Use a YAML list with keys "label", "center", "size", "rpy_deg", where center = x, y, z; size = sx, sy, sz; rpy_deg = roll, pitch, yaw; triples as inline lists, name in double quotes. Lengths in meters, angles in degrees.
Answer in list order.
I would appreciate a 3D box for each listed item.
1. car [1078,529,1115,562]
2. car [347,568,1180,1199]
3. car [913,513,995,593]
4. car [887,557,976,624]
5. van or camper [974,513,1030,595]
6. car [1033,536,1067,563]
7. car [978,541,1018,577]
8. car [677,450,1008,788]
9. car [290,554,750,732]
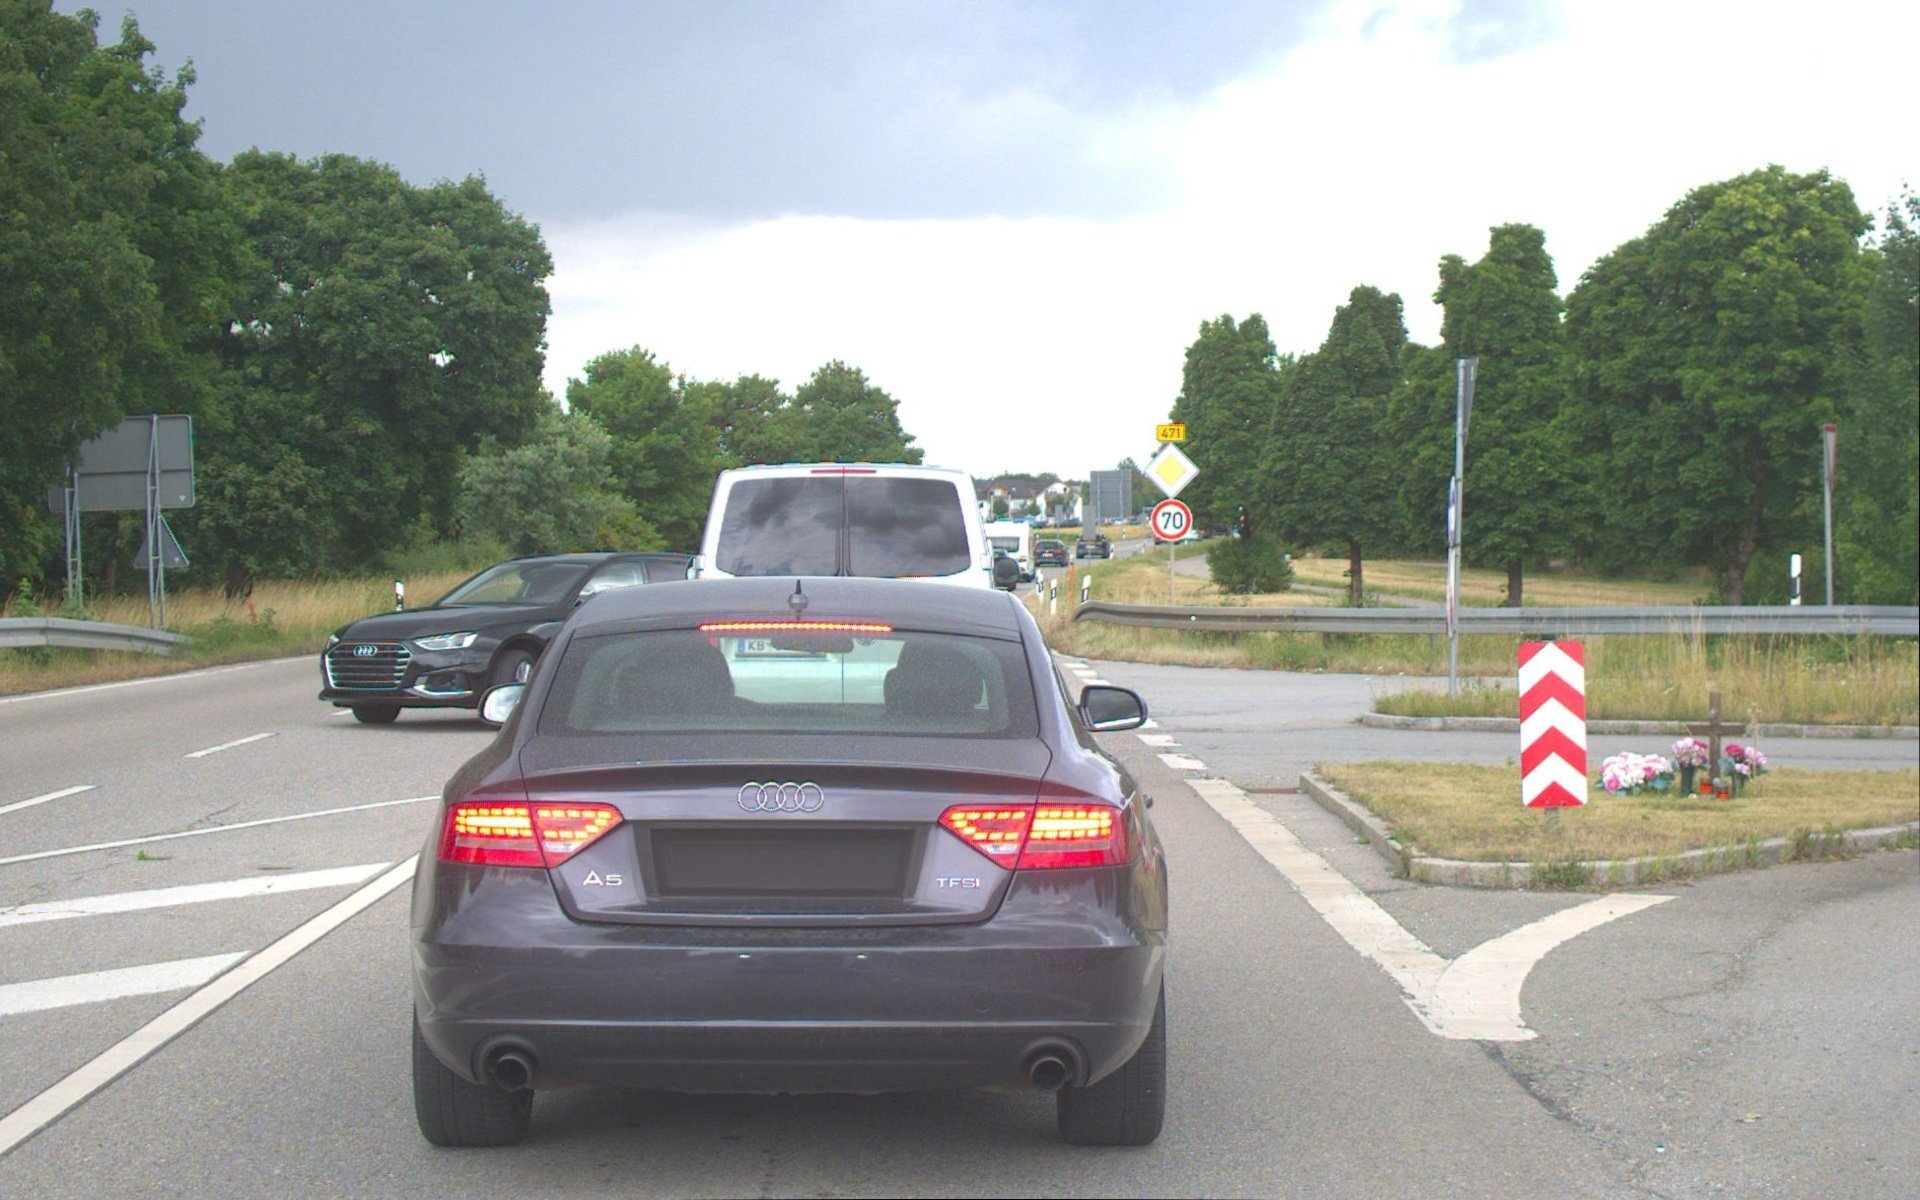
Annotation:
- label: "car"
  center: [8.339, -3.347, 210.480]
  size: [1.993, 2.007, 4.000]
  rpy_deg: [0, 1, -1]
- label: "car"
  center: [-0.447, 0.635, 9.419]
  size: [1.783, 1.372, 4.000]
  rpy_deg: [1, 1, -1]
- label: "car"
  center: [-0.130, -1.245, 91.186]
  size: [1.994, 2.081, 4.000]
  rpy_deg: [0, 1, 2]
- label: "car"
  center: [-0.628, -0.229, 77.357]
  size: [1.796, 1.459, 3.248]
  rpy_deg: [0, 1, 3]
- label: "van or camper"
  center: [1.847, -1.988, 148.876]
  size: [2.340, 3.469, 5.718]
  rpy_deg: [0, 1, 2]
- label: "car"
  center: [4.778, -2.698, 183.299]
  size: [1.719, 1.446, 4.000]
  rpy_deg: [1, 1, 1]
- label: "car"
  center: [1.463, -1.578, 132.147]
  size: [1.258, 1.349, 3.465]
  rpy_deg: [0, 1, 5]
- label: "car"
  center: [-0.683, 0.061, 21.298]
  size: [1.838, 1.876, 4.000]
  rpy_deg: [1, 1, -1]
- label: "car"
  center: [-3.620, 0.302, 29.211]
  size: [1.822, 1.369, 4.606]
  rpy_deg: [0, 1, 23]
